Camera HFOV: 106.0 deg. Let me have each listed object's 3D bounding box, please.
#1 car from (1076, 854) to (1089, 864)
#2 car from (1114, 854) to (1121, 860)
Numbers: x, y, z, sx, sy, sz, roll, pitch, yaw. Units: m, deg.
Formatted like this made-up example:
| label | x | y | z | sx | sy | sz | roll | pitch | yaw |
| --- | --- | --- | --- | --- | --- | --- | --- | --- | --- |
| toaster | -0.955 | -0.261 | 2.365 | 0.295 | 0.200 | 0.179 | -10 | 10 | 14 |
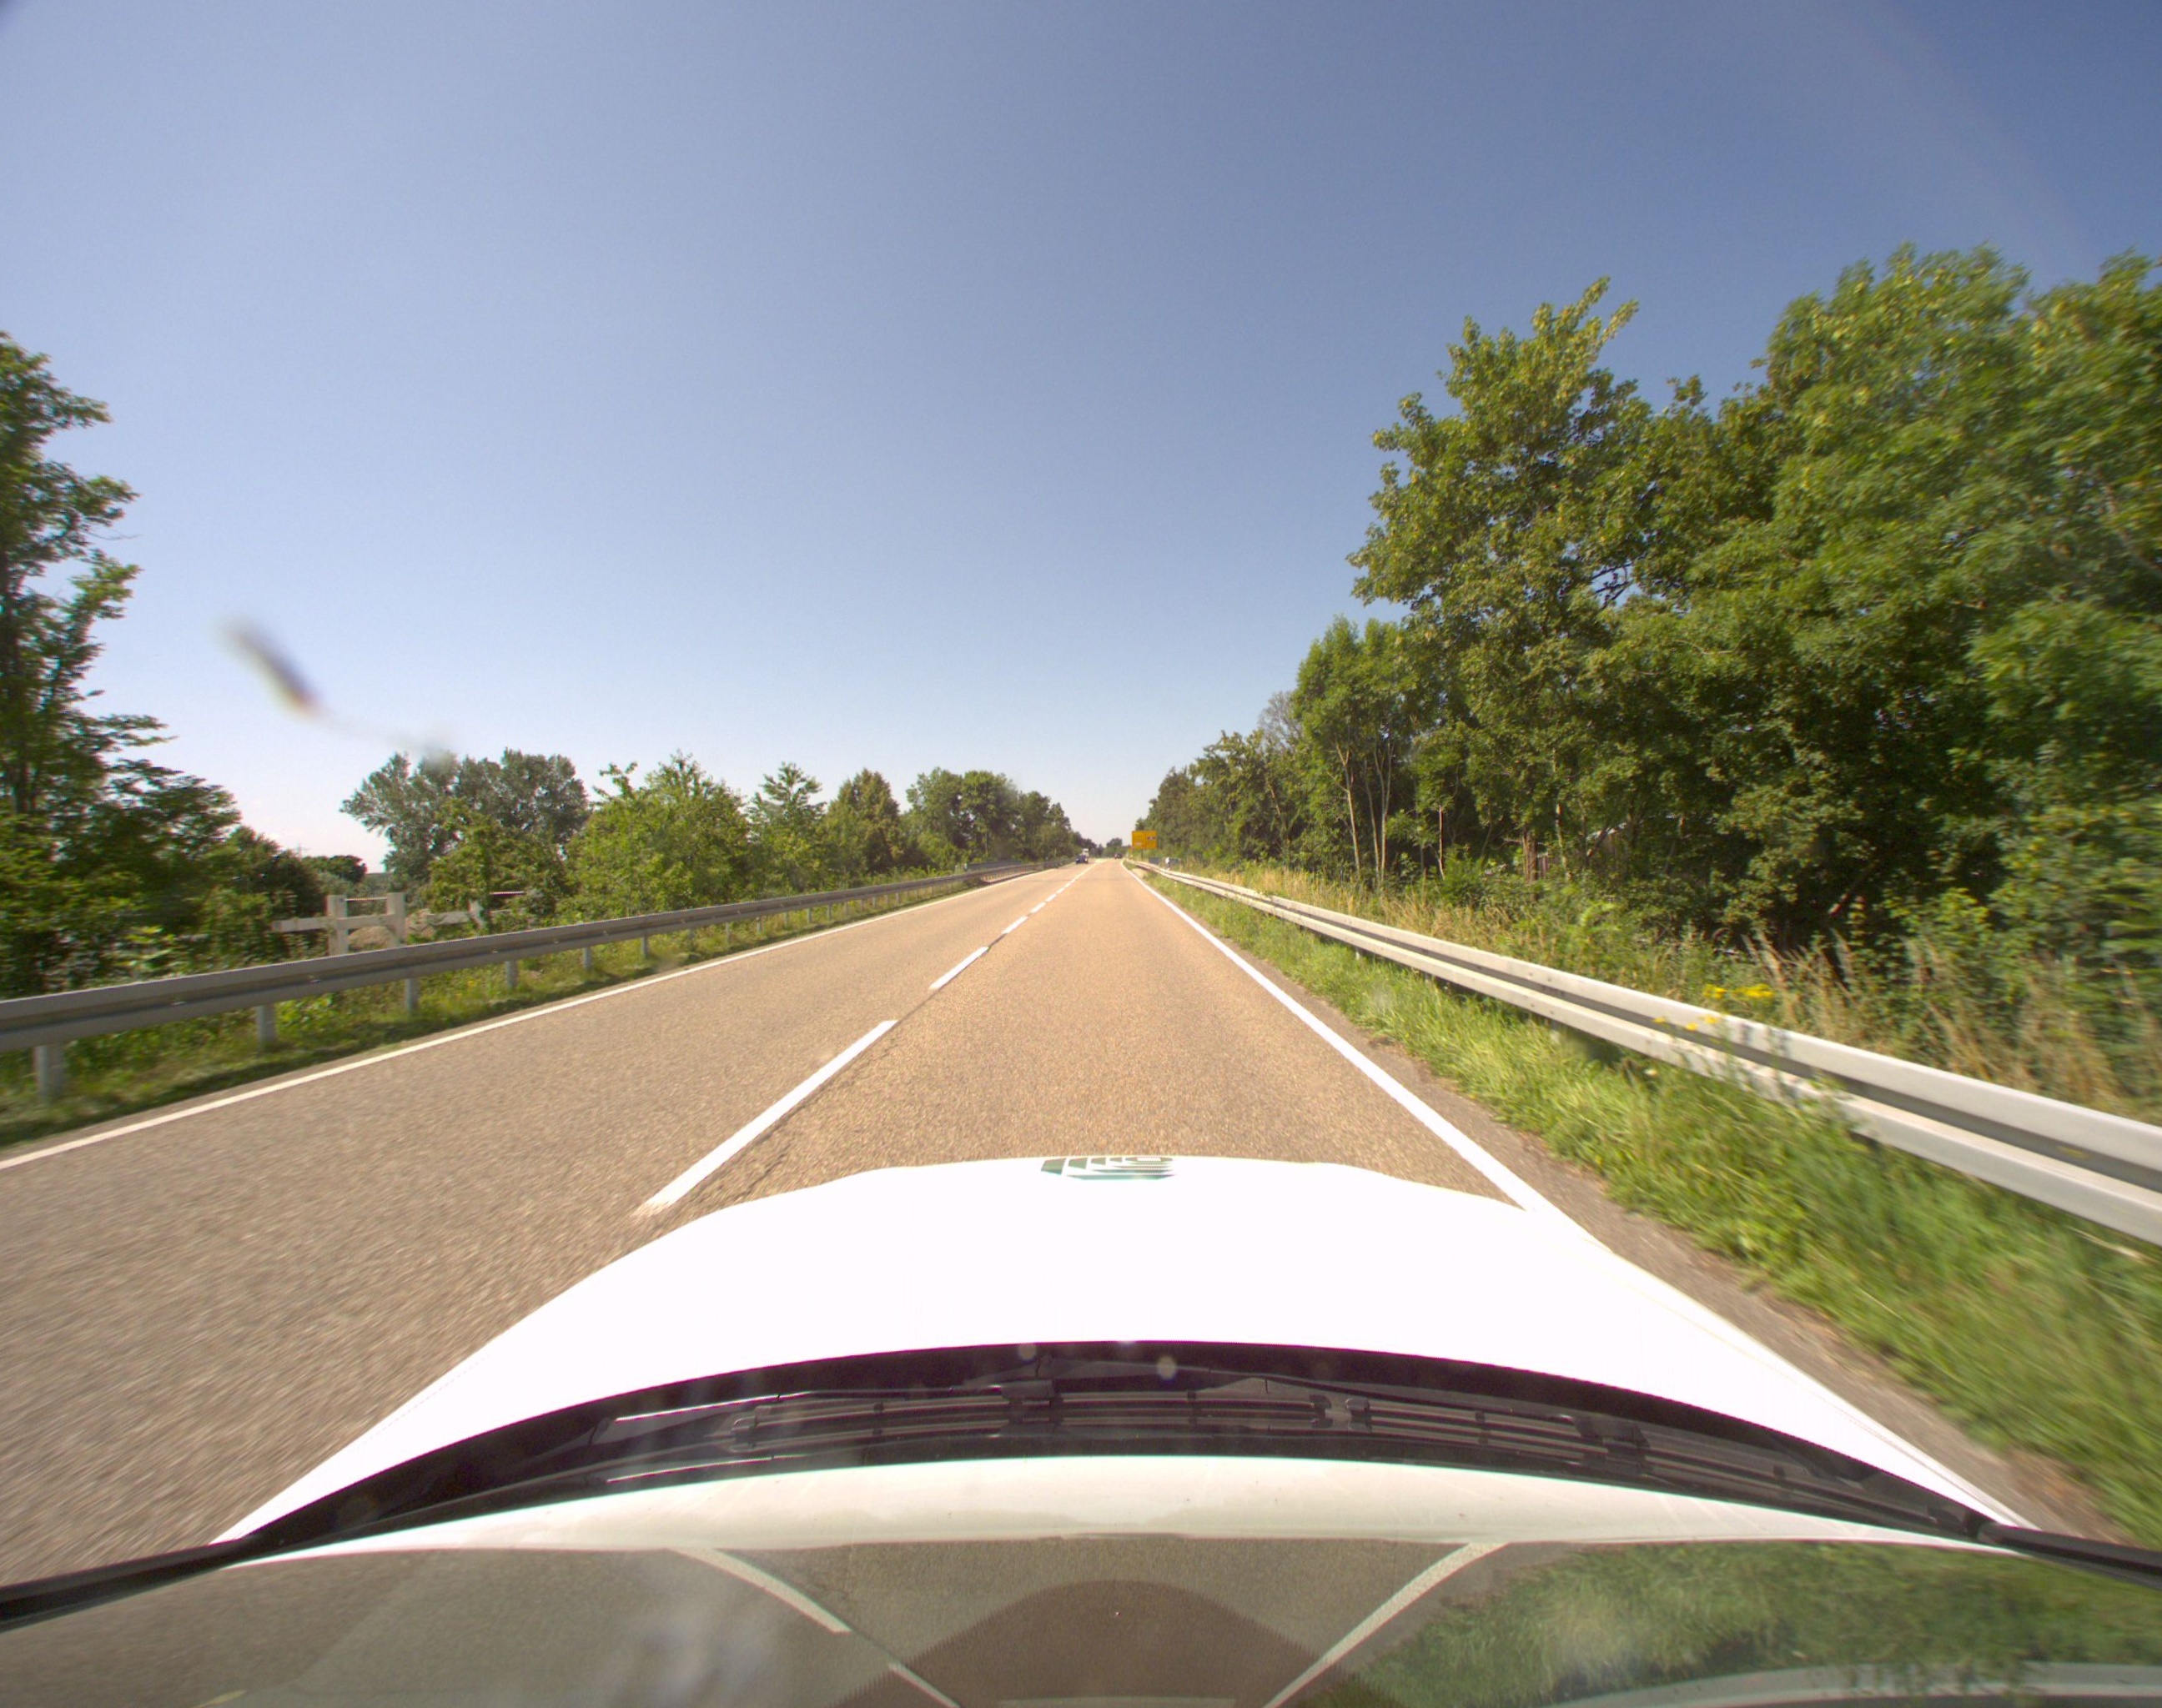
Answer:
| label | x | y | z | sx | sy | sz | roll | pitch | yaw |
| --- | --- | --- | --- | --- | --- | --- | --- | --- | --- |
| car | 0.247 | 0.814 | 129.639 | 1.739 | 1.425 | 4.679 | -1 | 0 | 2 |
| car | 9.331 | 0.681 | 208.083 | 1.734 | 1.470 | 3.695 | -1 | 0 | 3 |
